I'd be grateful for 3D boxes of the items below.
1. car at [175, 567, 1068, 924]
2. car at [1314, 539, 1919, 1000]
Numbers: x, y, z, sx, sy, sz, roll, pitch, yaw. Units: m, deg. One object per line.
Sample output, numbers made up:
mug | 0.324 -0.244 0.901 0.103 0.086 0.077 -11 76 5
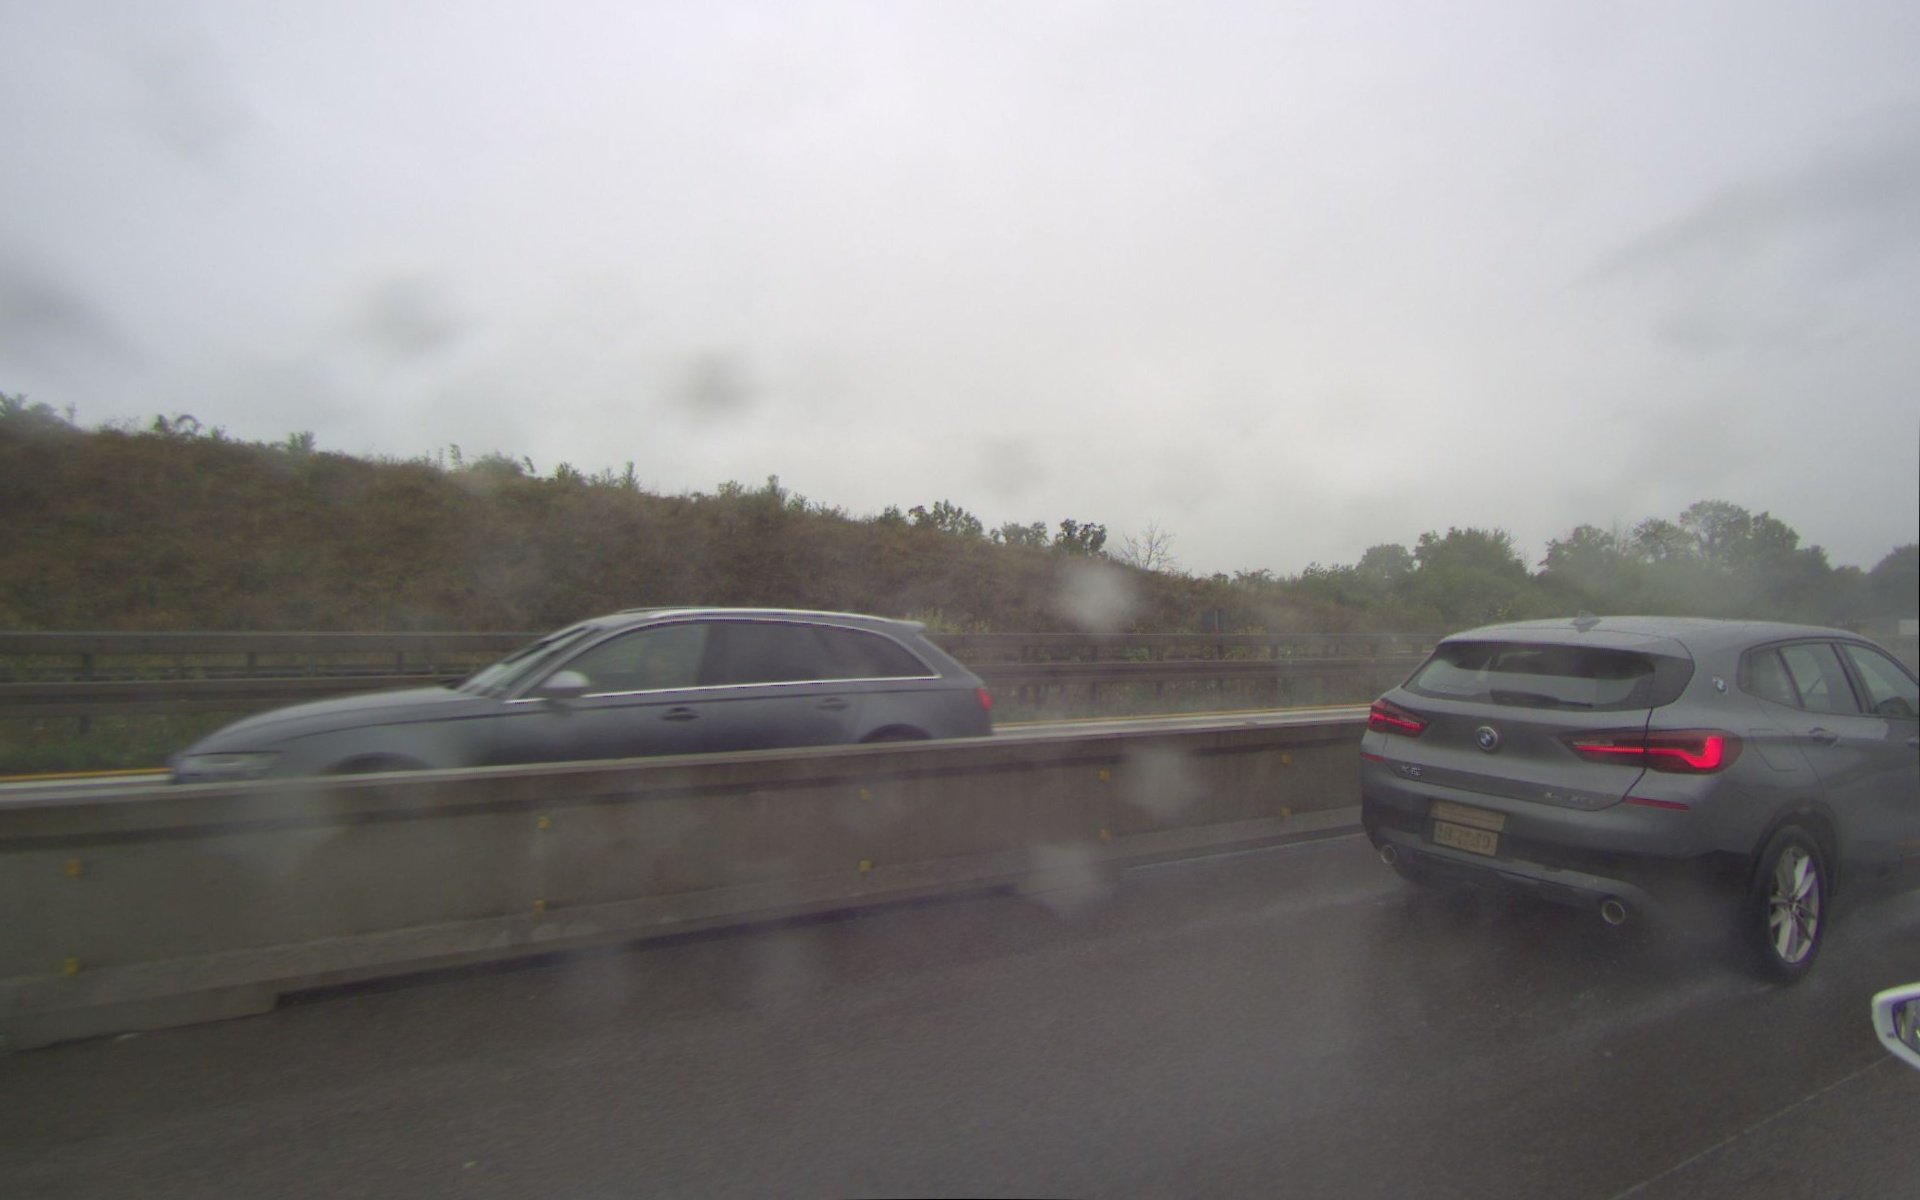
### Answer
car | -1.783 0.695 6.427 4.897 1.548 1.751 2 -1 -33
car | 4.249 0.704 5.512 4.789 1.619 1.693 2 -3 -31
